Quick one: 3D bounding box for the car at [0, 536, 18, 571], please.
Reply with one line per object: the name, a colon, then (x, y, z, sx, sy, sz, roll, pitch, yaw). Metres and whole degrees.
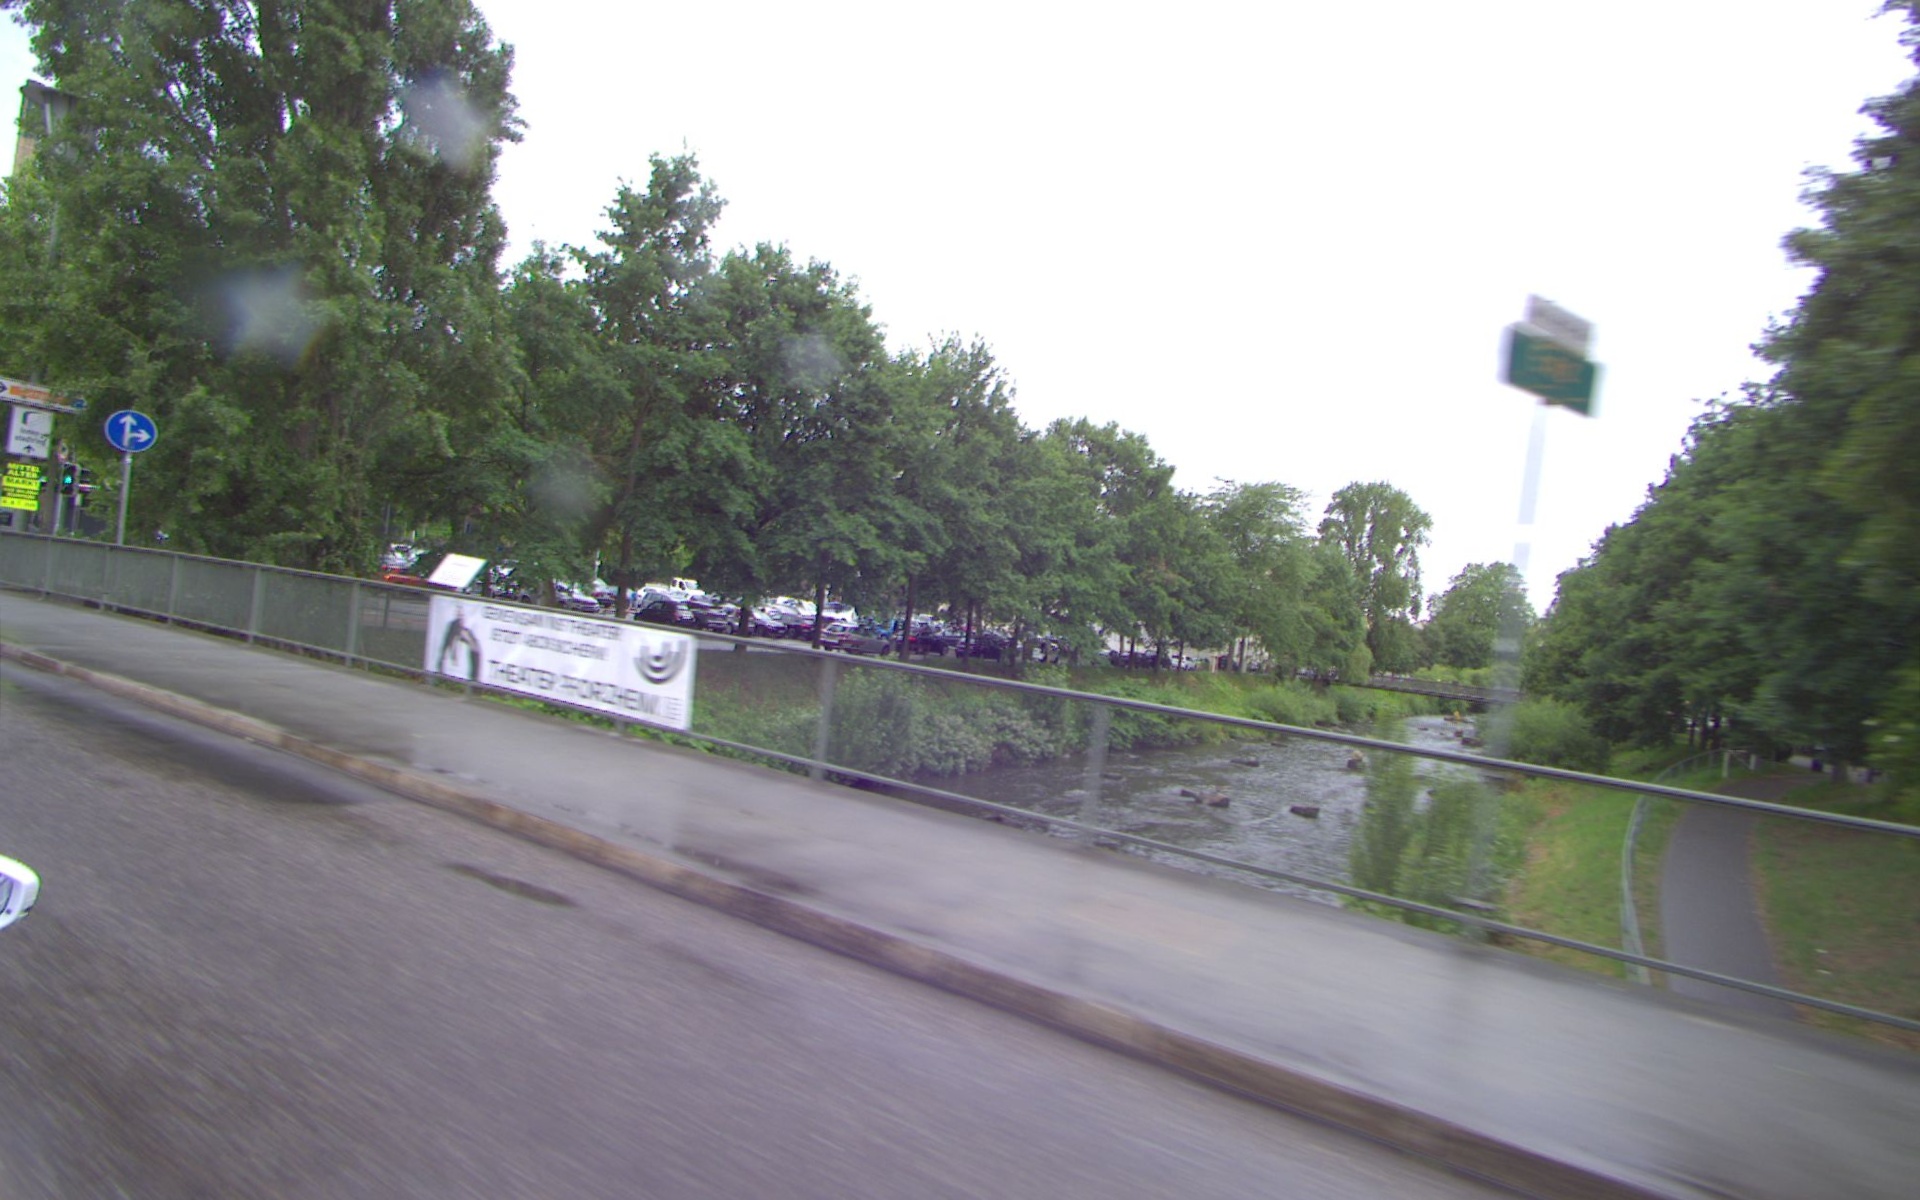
car: (-46.506, -2.463, 46.454, 1.716, 1.525, 3.996, 6, -4, 34)

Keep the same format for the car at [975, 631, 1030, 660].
car: (3.553, 3.802, 83.862, 3.930, 1.837, 1.999, 6, -1, 27)

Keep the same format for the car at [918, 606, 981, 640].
car: (-0.784, 1.675, 73.223, 3.930, 2.004, 1.999, 6, -1, 27)

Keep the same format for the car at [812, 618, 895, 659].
car: (-5.270, 1.927, 50.281, 1.862, 1.564, 3.991, 6, -3, 35)

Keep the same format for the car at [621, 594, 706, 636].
car: (-15.233, 0.772, 51.650, 3.947, 1.608, 1.804, 6, -1, 29)

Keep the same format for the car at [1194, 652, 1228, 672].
car: (24.815, 6.173, 99.361, 1.883, 1.564, 3.991, 6, -3, 35)

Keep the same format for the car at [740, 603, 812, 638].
car: (-12.475, 1.403, 68.112, 4.518, 1.777, 1.934, 6, -2, 31)

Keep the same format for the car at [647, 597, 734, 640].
car: (-14.455, 0.983, 53.875, 4.271, 1.729, 1.804, 6, -1, 29)

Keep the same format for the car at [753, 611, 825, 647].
car: (-10.276, 1.740, 60.387, 3.837, 1.605, 1.804, 6, -1, 29)

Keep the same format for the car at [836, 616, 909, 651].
car: (-6.024, 2.282, 69.010, 4.518, 1.777, 1.934, 6, -2, 31)

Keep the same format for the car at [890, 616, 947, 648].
car: (-3.358, 2.557, 81.042, 3.930, 2.037, 1.999, 6, -1, 27)

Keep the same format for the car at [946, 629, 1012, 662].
car: (1.207, 2.798, 61.177, 1.969, 1.564, 3.991, 6, -3, 35)

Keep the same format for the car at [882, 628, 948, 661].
car: (-2.679, 2.700, 60.391, 1.730, 1.564, 3.991, 6, -3, 35)

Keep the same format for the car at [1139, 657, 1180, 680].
car: (17.605, 6.030, 88.614, 1.969, 1.564, 3.991, 6, -3, 35)

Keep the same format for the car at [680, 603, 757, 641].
car: (-13.518, 1.219, 56.349, 3.837, 1.605, 1.804, 6, -1, 29)

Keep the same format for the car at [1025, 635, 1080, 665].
car: (6.382, 3.460, 69.157, 1.969, 1.564, 3.991, 6, -3, 35)

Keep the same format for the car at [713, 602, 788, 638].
car: (-13.659, 1.285, 65.535, 4.518, 1.777, 1.934, 6, -2, 31)

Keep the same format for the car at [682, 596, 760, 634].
car: (-14.978, 0.945, 62.943, 4.518, 1.777, 1.934, 6, -2, 31)

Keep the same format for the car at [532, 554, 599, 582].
car: (-36.193, -2.933, 92.274, 5.290, 1.777, 1.918, 9, -3, -36)

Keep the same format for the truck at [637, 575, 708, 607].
truck: (-27.366, -0.834, 95.777, 6.410, 2.264, 2.448, 6, -2, 28)

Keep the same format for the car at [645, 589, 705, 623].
car: (-21.130, 0.432, 74.593, 3.935, 2.034, 1.999, 3, -5, 31)

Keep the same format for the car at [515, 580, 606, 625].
car: (-20.734, 0.135, 52.177, 4.508, 1.785, 1.804, 6, -1, 29)

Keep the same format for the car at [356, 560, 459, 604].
car: (-27.448, -0.880, 50.116, 1.775, 1.640, 4.131, 6, -1, 27)

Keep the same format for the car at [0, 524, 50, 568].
car: (-43.838, -2.662, 45.160, 1.887, 1.667, 3.996, 6, -4, 34)

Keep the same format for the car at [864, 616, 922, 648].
car: (-5.273, 2.536, 79.218, 3.930, 2.037, 1.999, 6, -1, 27)

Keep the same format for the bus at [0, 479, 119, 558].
bus: (-78.623, -7.259, 79.671, 3.049, 5.270, 17.943, 6, -3, 34)

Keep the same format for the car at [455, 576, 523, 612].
car: (-28.303, -0.364, 60.468, 3.937, 1.670, 1.822, 5, -2, 35)

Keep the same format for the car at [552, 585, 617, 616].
car: (-25.290, 0.048, 67.702, 4.132, 1.568, 1.810, 6, -2, 31)

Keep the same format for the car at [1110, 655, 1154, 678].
car: (14.456, 5.579, 84.289, 1.969, 1.564, 3.991, 6, -3, 35)

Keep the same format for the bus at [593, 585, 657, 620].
bus: (-23.554, 0.164, 70.654, 3.934, 2.034, 2.000, 4, -5, 31)

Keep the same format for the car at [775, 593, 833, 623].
car: (-13.400, 0.694, 86.292, 4.518, 2.037, 1.998, 6, -2, 31)

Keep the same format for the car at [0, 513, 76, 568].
car: (-40.367, -2.650, 42.525, 1.939, 1.946, 3.994, 6, -3, 34)

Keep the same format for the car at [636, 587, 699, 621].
car: (-22.969, 0.306, 78.951, 4.518, 2.037, 1.998, 6, -2, 31)

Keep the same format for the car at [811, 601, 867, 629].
car: (-10.919, 1.351, 90.628, 4.513, 1.869, 2.000, 6, -2, 25)

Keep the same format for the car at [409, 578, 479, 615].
car: (-29.904, -0.193, 58.313, 3.937, 1.670, 1.822, 5, -2, 35)

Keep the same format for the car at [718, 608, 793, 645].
car: (-11.866, 1.538, 58.387, 3.837, 1.605, 1.804, 6, -1, 29)

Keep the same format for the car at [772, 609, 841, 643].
car: (-9.576, 1.645, 62.697, 3.837, 1.605, 1.804, 6, -1, 29)

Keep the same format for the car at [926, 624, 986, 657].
car: (-0.292, 3.094, 76.643, 3.930, 2.004, 1.999, 6, -1, 27)

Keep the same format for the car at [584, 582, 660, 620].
car: (-21.196, 0.066, 63.061, 4.518, 1.777, 1.934, 6, -2, 31)

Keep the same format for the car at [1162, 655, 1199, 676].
car: (20.925, 6.182, 95.321, 1.883, 1.564, 3.991, 6, -3, 35)
